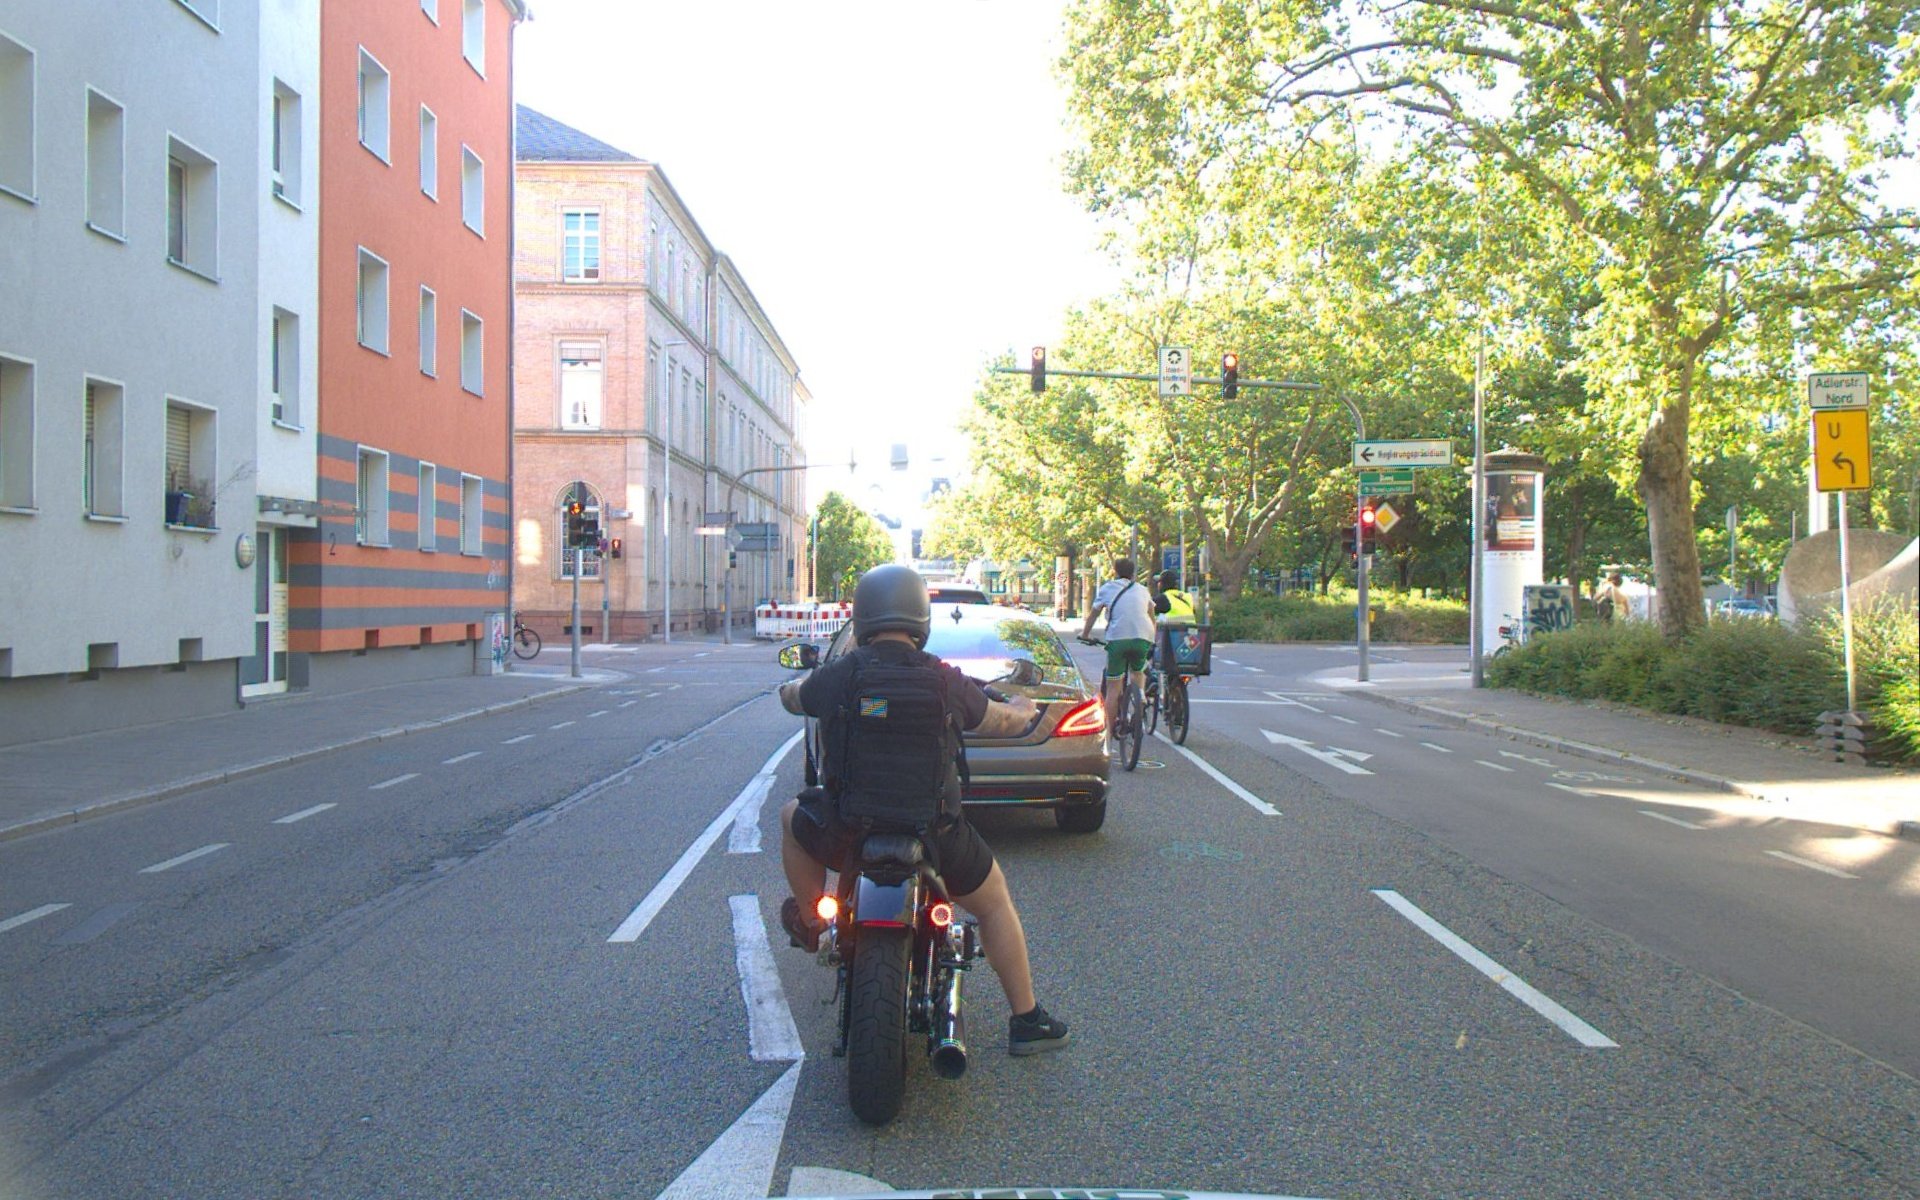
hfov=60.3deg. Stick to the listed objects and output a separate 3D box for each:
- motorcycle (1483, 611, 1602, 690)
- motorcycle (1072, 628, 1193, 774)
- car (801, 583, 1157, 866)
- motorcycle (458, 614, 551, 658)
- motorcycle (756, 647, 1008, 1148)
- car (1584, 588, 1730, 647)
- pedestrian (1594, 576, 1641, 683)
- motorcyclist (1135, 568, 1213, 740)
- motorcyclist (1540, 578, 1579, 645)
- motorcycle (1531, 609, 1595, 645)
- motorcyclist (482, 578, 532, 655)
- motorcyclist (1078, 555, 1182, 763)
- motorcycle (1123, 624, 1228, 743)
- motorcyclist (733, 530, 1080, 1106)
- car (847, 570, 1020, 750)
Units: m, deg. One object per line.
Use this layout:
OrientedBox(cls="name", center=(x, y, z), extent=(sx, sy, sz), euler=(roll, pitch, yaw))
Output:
OrientedBox(cls="motorcycle", center=(9.775, 0.838, 27.809), extent=(1.743, 1.265, 0.723), euler=(1, 0, 4))
OrientedBox(cls="motorcycle", center=(1.512, 0.866, 14.844), extent=(0.845, 1.189, 1.929), euler=(1, 0, -1))
OrientedBox(cls="car", center=(-0.086, 0.686, 11.112), extent=(1.790, 1.512, 4.326), euler=(1, 0, -7))
OrientedBox(cls="motorcycle", center=(-10.586, 0.825, 38.443), extent=(1.970, 0.979, 0.581), euler=(1, 0, 4))
OrientedBox(cls="motorcycle", center=(-0.220, 0.817, 5.402), extent=(0.646, 1.261, 2.057), euler=(1, 0, -1))
OrientedBox(cls="car", center=(21.990, 0.539, 52.280), extent=(3.907, 1.803, 1.737), euler=(0, 0, -3))
OrientedBox(cls="pedestrian", center=(11.585, 0.509, 29.160), extent=(0.634, 1.859, 0.668), euler=(0, 0, 9))
OrientedBox(cls="motorcyclist", center=(2.263, 0.559, 17.547), extent=(0.702, 1.773, 0.751), euler=(1, -1, -1))
OrientedBox(cls="motorcyclist", center=(17.240, 0.330, 47.567), extent=(0.962, 1.909, 0.376), euler=(0, -1, 3))
OrientedBox(cls="motorcycle", center=(17.335, 0.777, 47.572), extent=(1.683, 1.019, 0.416), euler=(0, 0, 3))
OrientedBox(cls="motorcyclist", center=(-10.528, 0.388, 38.444), extent=(0.964, 1.753, 0.551), euler=(1, -1, 3))
OrientedBox(cls="motorcyclist", center=(1.526, 0.521, 15.009), extent=(0.814, 1.820, 0.913), euler=(1, -1, -1))
OrientedBox(cls="motorcycle", center=(2.257, 0.852, 17.600), extent=(0.781, 1.151, 2.236), euler=(1, 0, -1))
OrientedBox(cls="motorcyclist", center=(-0.159, 0.630, 5.311), extent=(0.970, 1.639, 1.120), euler=(1, 0, -1))
OrientedBox(cls="car", center=(-0.276, 0.577, 17.671), extent=(1.618, 1.681, 3.999), euler=(1, 0, -1))
